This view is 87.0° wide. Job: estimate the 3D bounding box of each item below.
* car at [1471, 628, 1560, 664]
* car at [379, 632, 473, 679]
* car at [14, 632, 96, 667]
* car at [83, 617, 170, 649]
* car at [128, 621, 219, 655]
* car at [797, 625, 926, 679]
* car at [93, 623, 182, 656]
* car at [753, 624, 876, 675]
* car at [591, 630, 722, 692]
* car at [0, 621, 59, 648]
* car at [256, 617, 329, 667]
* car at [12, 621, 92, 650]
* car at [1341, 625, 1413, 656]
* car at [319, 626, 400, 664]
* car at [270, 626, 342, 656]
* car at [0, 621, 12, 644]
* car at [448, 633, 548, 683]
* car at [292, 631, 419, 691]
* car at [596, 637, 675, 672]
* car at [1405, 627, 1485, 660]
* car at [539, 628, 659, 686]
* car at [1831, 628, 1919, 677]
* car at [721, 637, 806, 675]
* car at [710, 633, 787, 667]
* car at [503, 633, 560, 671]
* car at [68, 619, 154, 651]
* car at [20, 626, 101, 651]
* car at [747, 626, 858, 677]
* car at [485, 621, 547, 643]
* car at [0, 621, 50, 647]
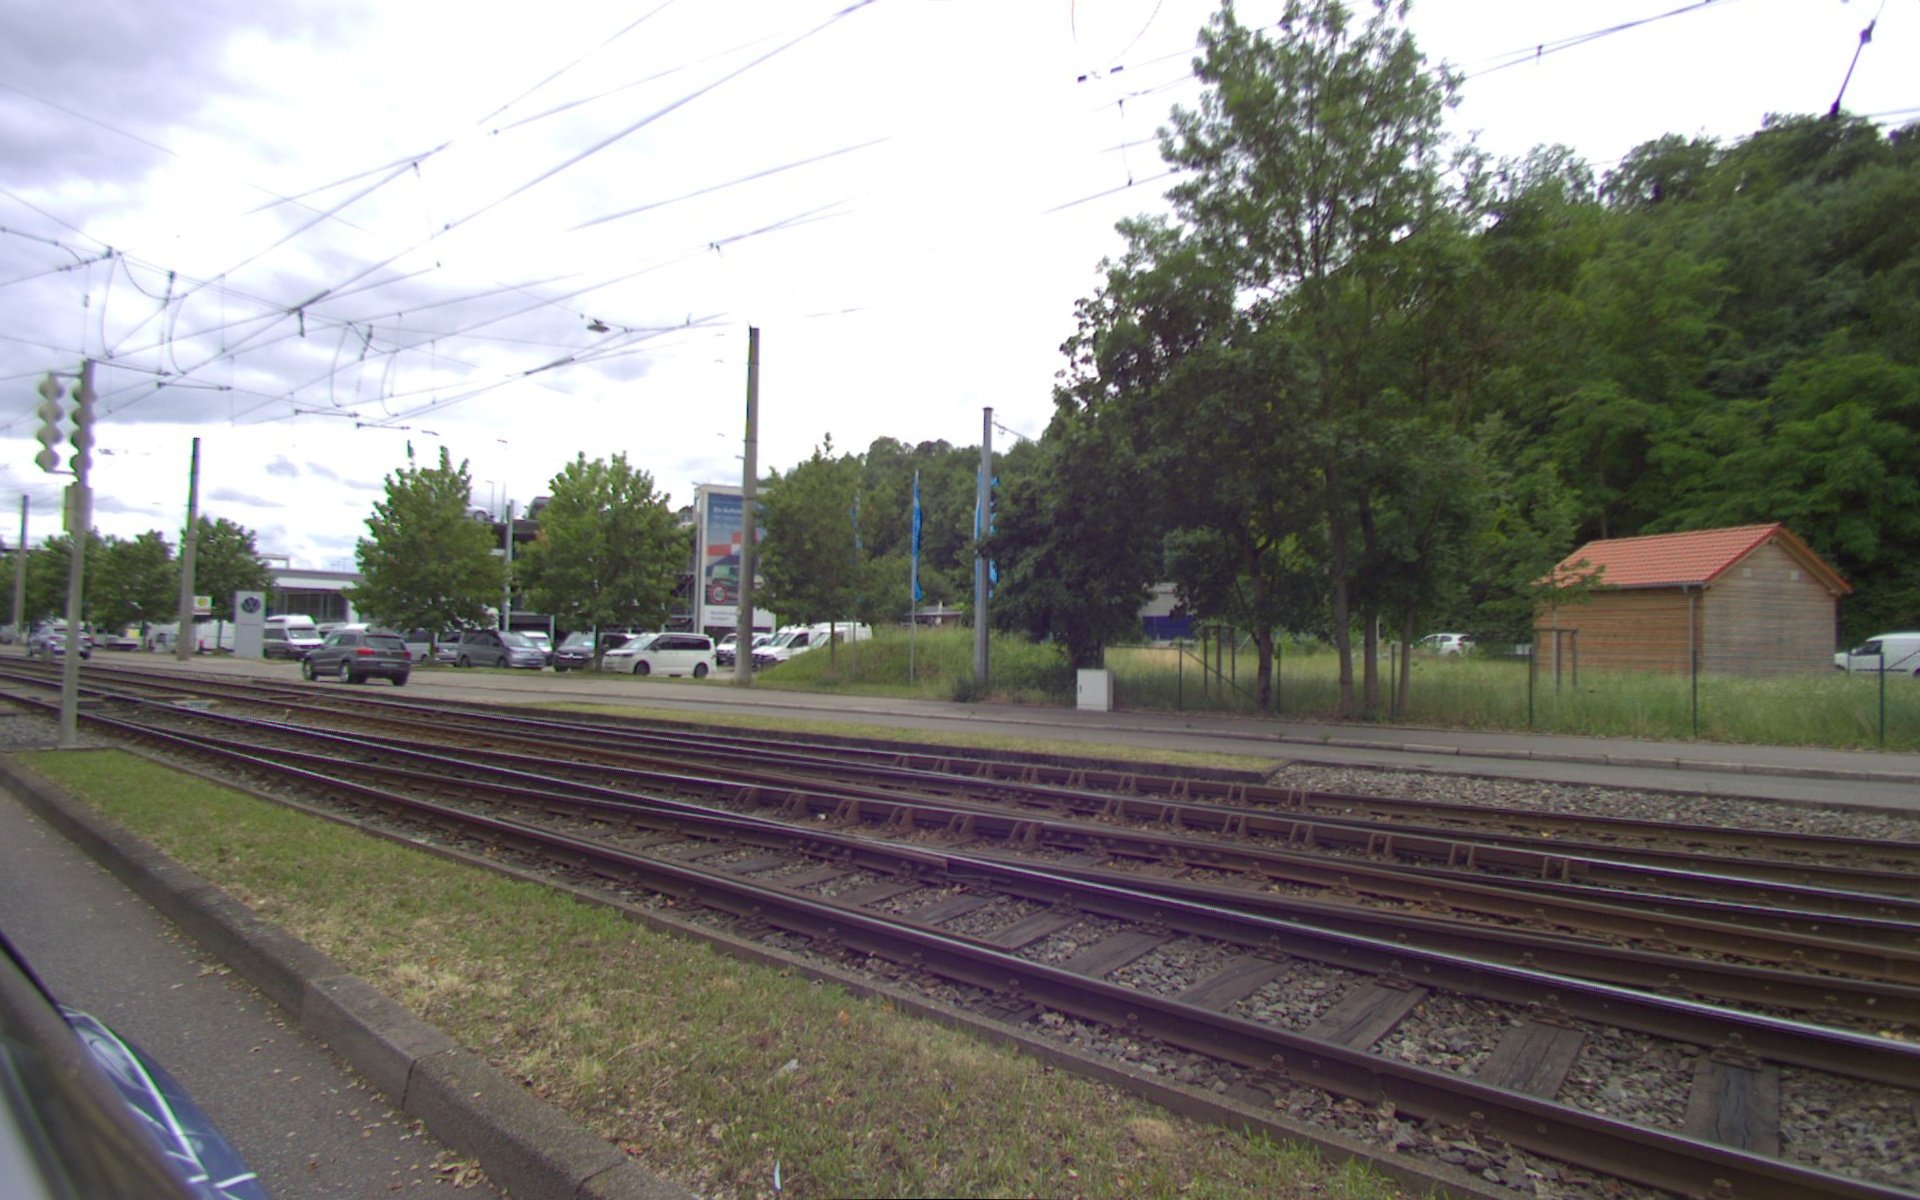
[{"bbox_3d":[28.179,2.303,51.431,1.727,1.625,3.693,-1,0,-22],"label":"car"},{"bbox_3d":[-27.051,2.756,51.199,4.761,2.132,2.119,-1,0,32],"label":"car"},{"bbox_3d":[-43.425,2.368,48.549,4.168,1.590,1.976,-1,-3,35],"label":"car"},{"bbox_3d":[-61.486,2.385,74.732,2.102,2.225,4.589,-1,0,32],"label":"car"},{"bbox_3d":[-54.969,2.604,70.787,2.102,2.225,4.589,-1,0,32],"label":"car"},{"bbox_3d":[-4.699,2.415,48.362,5.762,2.284,2.060,-1,0,-28],"label":"car"},{"bbox_3d":[-59.505,2.812,73.284,2.102,2.225,4.589,-1,0,32],"label":"car"},{"bbox_3d":[-7.336,2.449,51.097,5.751,2.284,2.060,-1,0,-28],"label":"car"},{"bbox_3d":[-12.837,2.523,43.108,1.997,2.284,5.206,-1,0,37],"label":"car"},{"bbox_3d":[-83.605,3.042,90.132,2.102,2.225,4.589,-1,0,32],"label":"car"},{"bbox_3d":[-43.183,2.656,65.406,6.154,3.034,2.291,-1,0,40],"label":"car"},{"bbox_3d":[-75.543,2.938,84.239,2.102,2.225,4.589,-1,0,32],"label":"car"},{"bbox_3d":[24.471,2.350,59.457,1.727,1.625,3.693,-1,0,-25],"label":"car"},{"bbox_3d":[-46.479,3.430,78.514,2.293,2.642,6.036,-1,0,6],"label":"car"},{"bbox_3d":[-53.666,3.314,83.116,2.107,2.225,4.579,-1,0,39],"label":"car"},{"bbox_3d":[-94.084,3.177,96.846,2.102,2.225,4.589,-1,0,32],"label":"car"},{"bbox_3d":[-21.818,2.680,47.739,4.763,2.132,2.118,-1,0,34],"label":"car"},{"bbox_3d":[-19.304,1.939,32.266,4.127,1.731,1.883,-1,-6,35],"label":"car"},{"bbox_3d":[-19.429,3.207,60.612,4.165,1.850,1.986,-1,0,-31],"label":"car"},{"bbox_3d":[26.483,2.325,55.386,1.727,1.625,3.693,-1,0,-25],"label":"car"},{"bbox_3d":[-16.003,2.466,45.049,1.977,2.284,4.717,-1,0,37],"label":"car"},{"bbox_3d":[34.183,1.871,36.529,1.877,1.625,3.693,-1,0,-22],"label":"car"},{"bbox_3d":[-10.919,3.062,56.252,4.165,1.850,1.986,-1,0,-31],"label":"car"},{"bbox_3d":[-12.984,3.021,62.214,4.165,1.850,1.986,-1,0,-31],"label":"car"},{"bbox_3d":[-24.517,2.928,57.807,1.872,1.907,4.606,-1,0,-38],"label":"car"},{"bbox_3d":[-63.864,2.614,76.216,2.102,2.225,4.589,-1,0,32],"label":"car"},{"bbox_3d":[-73.585,3.098,82.831,2.102,1.854,4.589,-1,0,32],"label":"car"},{"bbox_3d":[-8.444,2.716,54.409,5.568,2.479,1.986,-1,0,-31],"label":"car"},{"bbox_3d":[-41.818,2.972,95.375,5.138,1.850,1.986,-1,0,-29],"label":"car"},{"bbox_3d":[-85.628,3.068,91.507,2.102,2.225,4.589,-1,0,32],"label":"car"}]
